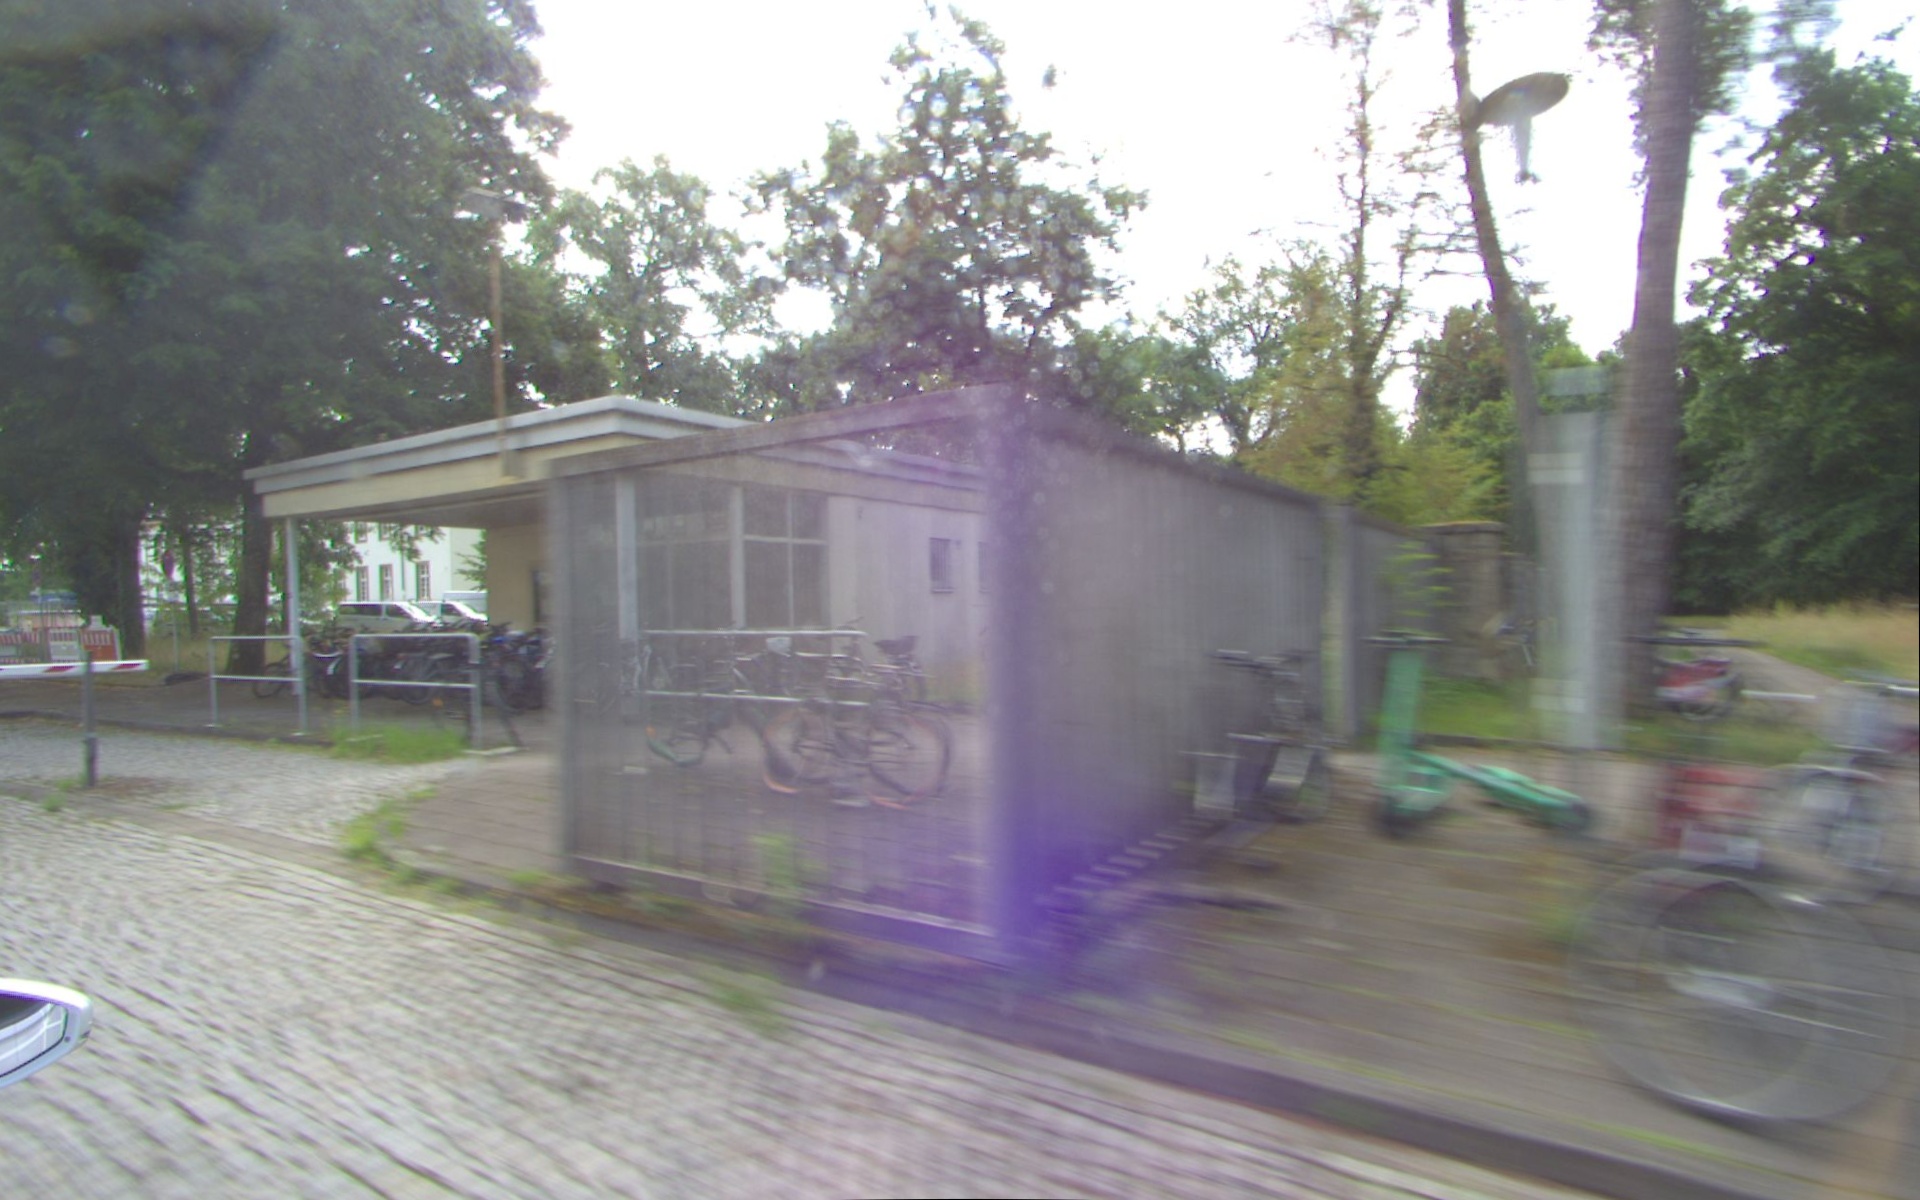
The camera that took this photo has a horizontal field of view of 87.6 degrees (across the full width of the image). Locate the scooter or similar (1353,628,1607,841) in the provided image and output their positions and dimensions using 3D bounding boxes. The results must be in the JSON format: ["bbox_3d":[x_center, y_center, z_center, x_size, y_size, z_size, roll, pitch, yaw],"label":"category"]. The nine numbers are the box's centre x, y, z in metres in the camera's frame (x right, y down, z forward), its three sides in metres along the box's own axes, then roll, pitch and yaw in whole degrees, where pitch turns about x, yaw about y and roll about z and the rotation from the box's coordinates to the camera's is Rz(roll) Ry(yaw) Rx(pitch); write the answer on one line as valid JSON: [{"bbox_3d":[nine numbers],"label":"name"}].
[{"bbox_3d":[2.977,0.757,5.802,1.228,1.166,0.438,-1,1,5],"label":"scooter or similar"}]

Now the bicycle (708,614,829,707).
[{"bbox_3d":[-2.465,0.781,12.792,1.573,1.097,0.434,-4,-1,31],"label":"bicycle"}]

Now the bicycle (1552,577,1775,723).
[{"bbox_3d":[7.215,0.485,10.354,1.766,1.436,0.588,0,1,17],"label":"bicycle"}]

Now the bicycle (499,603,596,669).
[{"bbox_3d":[-7.573,0.672,18.361,1.866,1.133,0.371,-3,0,22],"label":"bicycle"}]

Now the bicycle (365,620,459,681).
[{"bbox_3d":[-10.003,0.914,18.266,1.880,1.081,0.371,-1,1,22],"label":"bicycle"}]

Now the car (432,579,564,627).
[{"bbox_3d":[-24.715,0.175,53.691,6.079,2.338,2.000,-2,0,1],"label":"car"}]

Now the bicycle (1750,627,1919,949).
[{"bbox_3d":[4.144,0.758,4.636,0.616,1.178,1.596,2,3,43],"label":"bicycle"}]

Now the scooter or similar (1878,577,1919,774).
[{"bbox_3d":[7.525,0.539,7.670,0.523,1.436,1.245,0,1,33],"label":"scooter or similar"}]

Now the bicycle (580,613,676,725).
[{"bbox_3d":[-3.953,0.789,12.044,0.428,1.186,1.652,-3,1,5],"label":"bicycle"}]

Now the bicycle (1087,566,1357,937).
[{"bbox_3d":[1.329,0.576,4.776,0.509,1.436,1.893,-2,0,37],"label":"bicycle"}]

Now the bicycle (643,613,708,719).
[{"bbox_3d":[-3.456,0.764,12.264,0.428,1.186,1.653,-3,0,-6],"label":"bicycle"}]

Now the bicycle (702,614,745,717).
[{"bbox_3d":[-2.884,0.758,12.285,0.428,1.134,1.651,-3,1,-12],"label":"bicycle"}]

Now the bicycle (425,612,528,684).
[{"bbox_3d":[-8.923,0.874,18.470,1.865,1.137,0.370,4,18,21],"label":"bicycle"}]

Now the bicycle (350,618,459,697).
[{"bbox_3d":[-9.026,0.908,16.347,0.488,1.186,1.748,-3,0,12],"label":"bicycle"}]

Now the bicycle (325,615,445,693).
[{"bbox_3d":[-9.520,0.870,16.658,0.353,1.186,1.799,-3,0,26],"label":"bicycle"}]

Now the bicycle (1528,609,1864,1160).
[{"bbox_3d":[2.323,0.714,3.368,0.662,1.294,1.732,-1,1,28],"label":"bicycle"}]

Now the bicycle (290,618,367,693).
[{"bbox_3d":[-10.596,0.901,16.847,0.352,1.186,1.383,-3,0,0],"label":"bicycle"}]

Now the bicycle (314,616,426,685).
[{"bbox_3d":[-10.532,0.893,17.881,1.764,1.133,0.445,-3,0,7],"label":"bicycle"}]

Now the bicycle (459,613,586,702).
[{"bbox_3d":[-6.470,0.824,14.931,0.394,1.186,1.980,-3,0,21],"label":"bicycle"}]

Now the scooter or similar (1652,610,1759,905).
[{"bbox_3d":[3.751,0.699,5.012,0.381,1.262,1.274,0,2,39],"label":"scooter or similar"}]

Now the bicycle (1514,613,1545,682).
[{"bbox_3d":[9.373,0.746,16.451,0.368,1.030,1.942,0,1,32],"label":"bicycle"}]

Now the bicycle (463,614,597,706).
[{"bbox_3d":[-6.109,0.820,14.354,0.394,1.186,2.017,-3,0,22],"label":"bicycle"}]

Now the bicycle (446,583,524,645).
[{"bbox_3d":[-9.365,0.293,19.707,1.871,1.143,0.370,-3,0,31],"label":"bicycle"}]

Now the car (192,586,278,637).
[{"bbox_3d":[-37.505,0.630,51.759,5.287,2.456,1.987,-2,0,36],"label":"car"}]

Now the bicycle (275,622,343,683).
[{"bbox_3d":[-13.064,1.029,20.087,1.562,1.101,0.503,2,3,31],"label":"bicycle"}]

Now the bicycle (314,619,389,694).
[{"bbox_3d":[-10.202,0.928,16.828,0.352,1.186,1.383,-3,0,0],"label":"bicycle"}]

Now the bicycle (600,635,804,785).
[{"bbox_3d":[-2.117,0.846,8.177,1.572,1.071,0.728,-1,1,33],"label":"bicycle"}]

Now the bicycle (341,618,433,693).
[{"bbox_3d":[-9.744,0.924,17.080,0.353,1.186,1.378,-3,0,24],"label":"bicycle"}]

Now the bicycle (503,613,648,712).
[{"bbox_3d":[-5.092,0.803,13.414,0.478,1.186,1.947,-3,0,27],"label":"bicycle"}]

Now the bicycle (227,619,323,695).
[{"bbox_3d":[-11.598,0.936,16.996,0.425,1.186,1.381,-3,0,11],"label":"bicycle"}]

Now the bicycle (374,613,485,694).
[{"bbox_3d":[-8.527,0.831,16.188,0.488,1.186,1.805,-3,0,12],"label":"bicycle"}]

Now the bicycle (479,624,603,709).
[{"bbox_3d":[-5.783,0.895,13.944,0.348,1.045,1.769,-3,0,25],"label":"bicycle"}]

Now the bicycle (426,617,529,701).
[{"bbox_3d":[-7.375,0.880,15.381,0.394,1.175,1.704,-3,0,13],"label":"bicycle"}]

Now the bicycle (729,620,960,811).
[{"bbox_3d":[-0.848,0.757,7.108,1.691,1.187,0.500,1,2,33],"label":"bicycle"}]

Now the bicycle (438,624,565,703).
[{"bbox_3d":[-6.860,0.923,15.090,0.394,1.042,1.980,-3,0,21],"label":"bicycle"}]

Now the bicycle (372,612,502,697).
[{"bbox_3d":[-8.009,0.802,15.431,0.573,1.186,1.802,-3,0,20],"label":"bicycle"}]

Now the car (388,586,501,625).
[{"bbox_3d":[-26.202,0.310,51.004,4.746,1.812,2.000,-2,0,4],"label":"car"}]

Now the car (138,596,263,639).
[{"bbox_3d":[-35.319,0.792,46.644,1.973,1.844,4.208,-2,0,34],"label":"car"}]

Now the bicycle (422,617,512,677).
[{"bbox_3d":[-9.500,0.908,19.276,1.866,1.097,0.371,-3,0,22],"label":"bicycle"}]

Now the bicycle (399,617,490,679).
[{"bbox_3d":[-9.797,0.905,19.019,1.866,1.134,0.371,-1,1,22],"label":"bicycle"}]

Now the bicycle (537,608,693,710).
[{"bbox_3d":[-4.480,0.732,13.171,0.479,1.186,2.066,-3,0,31],"label":"bicycle"}]

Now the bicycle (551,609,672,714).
[{"bbox_3d":[-4.252,0.730,12.295,0.430,1.186,1.388,-3,0,32],"label":"bicycle"}]

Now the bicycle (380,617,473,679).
[{"bbox_3d":[-9.926,0.901,18.624,1.866,1.095,0.371,-3,0,22],"label":"bicycle"}]

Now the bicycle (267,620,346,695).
[{"bbox_3d":[-10.993,0.936,16.882,0.352,1.186,1.383,-3,0,0],"label":"bicycle"}]

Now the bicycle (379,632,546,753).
[{"bbox_3d":[-5.028,0.891,10.099,1.689,1.087,0.728,-1,1,33],"label":"bicycle"}]

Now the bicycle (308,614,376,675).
[{"bbox_3d":[-12.687,0.916,20.549,1.533,1.186,0.503,-3,0,32],"label":"bicycle"}]

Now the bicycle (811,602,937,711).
[{"bbox_3d":[-1.034,0.656,11.710,0.432,1.186,1.708,-3,0,-44],"label":"bicycle"}]

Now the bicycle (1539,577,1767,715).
[{"bbox_3d":[7.483,0.479,10.907,1.947,1.436,0.577,0,1,17],"label":"bicycle"}]

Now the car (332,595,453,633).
[{"bbox_3d":[-27.439,0.657,48.480,4.746,1.672,2.000,-2,0,4],"label":"car"}]
